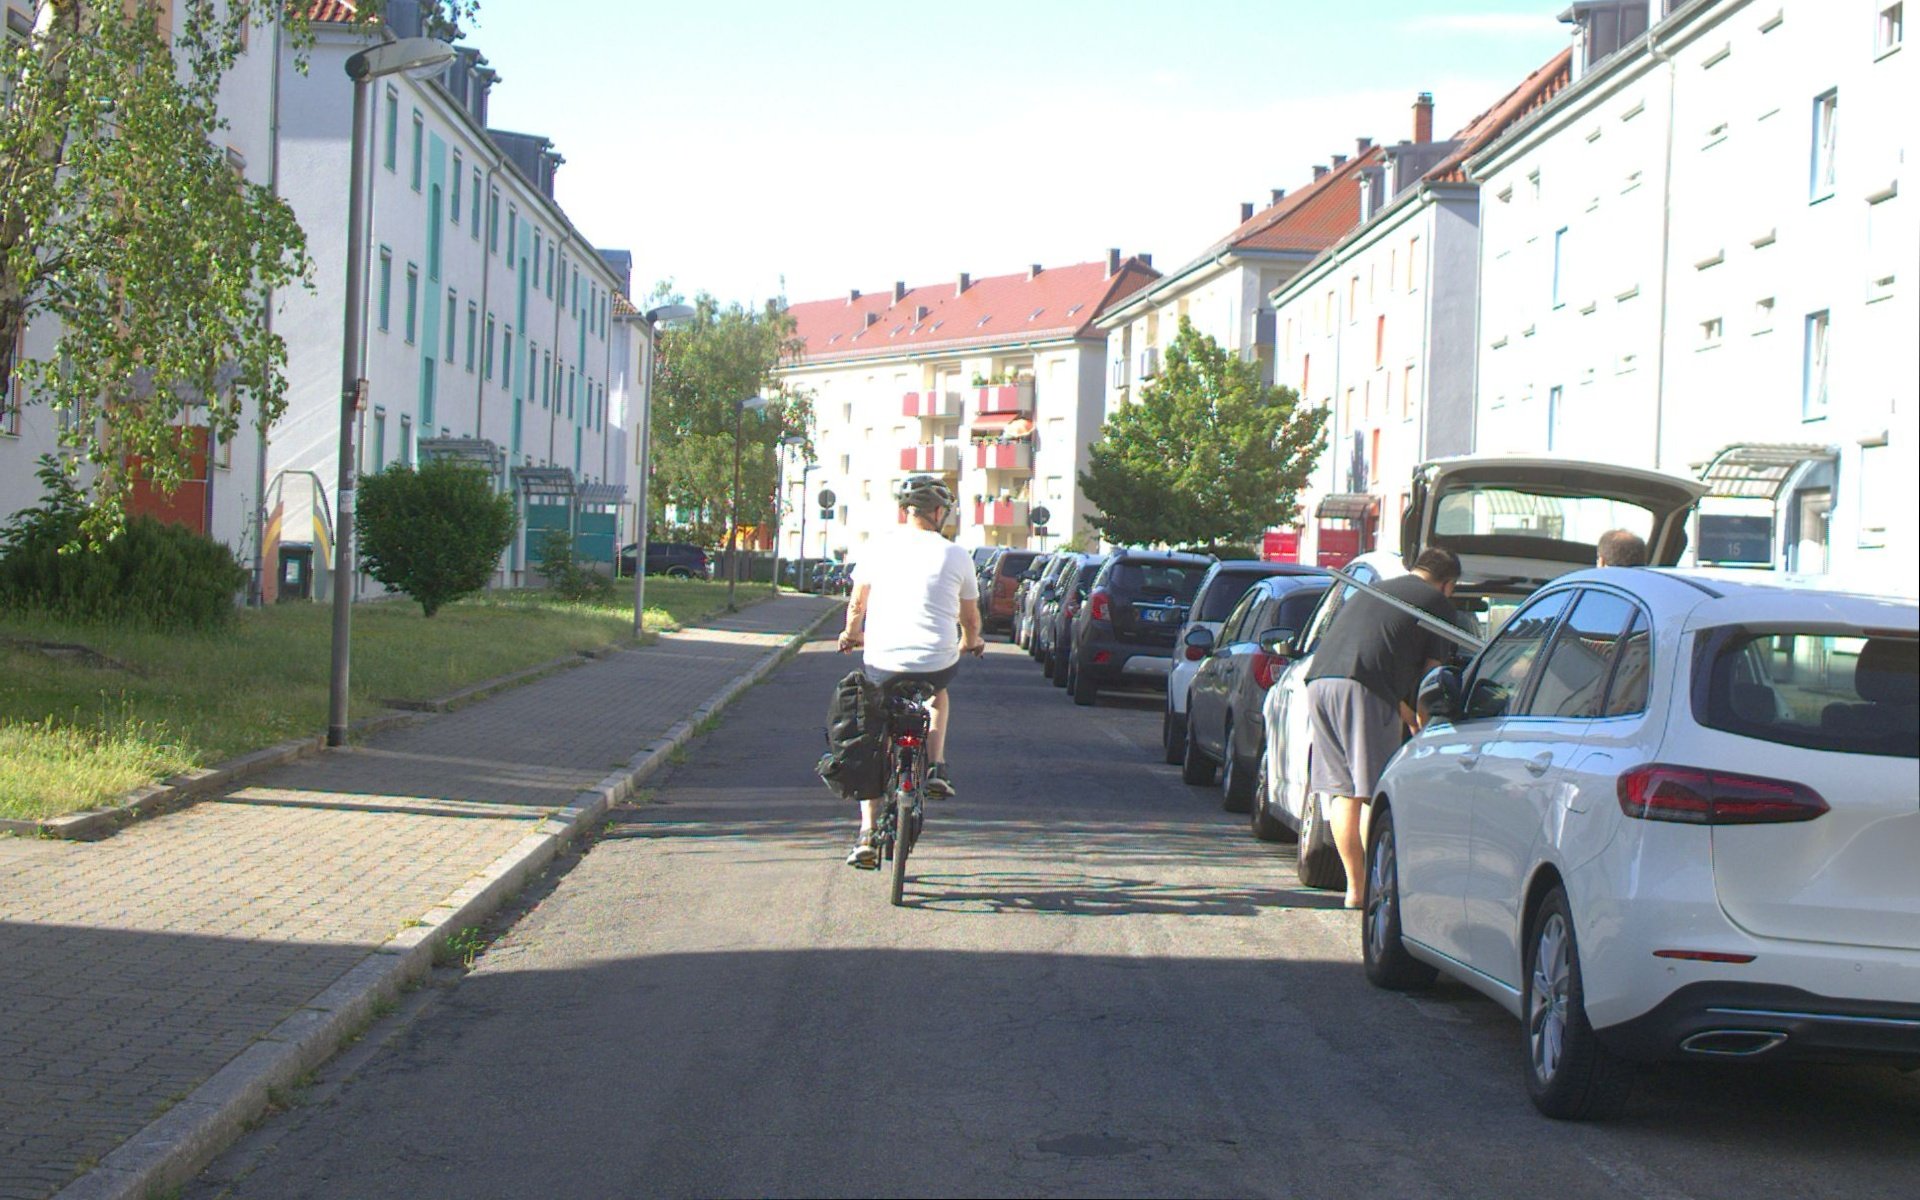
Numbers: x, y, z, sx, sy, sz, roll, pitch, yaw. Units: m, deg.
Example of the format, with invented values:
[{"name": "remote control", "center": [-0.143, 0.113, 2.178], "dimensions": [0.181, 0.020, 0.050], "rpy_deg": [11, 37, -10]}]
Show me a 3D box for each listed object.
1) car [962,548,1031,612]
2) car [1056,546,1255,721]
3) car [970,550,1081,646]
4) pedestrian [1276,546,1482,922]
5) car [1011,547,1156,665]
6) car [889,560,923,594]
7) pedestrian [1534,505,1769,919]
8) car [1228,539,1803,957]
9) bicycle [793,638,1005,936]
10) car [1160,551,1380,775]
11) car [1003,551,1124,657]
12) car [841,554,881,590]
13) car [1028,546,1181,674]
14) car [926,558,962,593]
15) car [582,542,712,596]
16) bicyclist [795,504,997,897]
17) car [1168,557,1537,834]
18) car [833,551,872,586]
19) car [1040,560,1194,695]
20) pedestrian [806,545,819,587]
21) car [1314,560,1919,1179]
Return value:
[{"name": "car", "center": [1.054, -0.615, 100.843], "dimensions": [1.674, 1.733, 3.943], "rpy_deg": [3, 1, -3]}, {"name": "car", "center": [2.026, 0.307, 36.769], "dimensions": [1.783, 1.642, 4.469], "rpy_deg": [4, 1, 0]}, {"name": "car", "center": [1.230, -0.058, 66.051], "dimensions": [1.862, 1.662, 4.127], "rpy_deg": [4, 1, -1]}, {"name": "pedestrian", "center": [1.802, 0.558, 14.912], "dimensions": [0.739, 1.569, 0.880], "rpy_deg": [1, 1, -1]}, {"name": "car", "center": [1.879, 0.058, 53.524], "dimensions": [1.750, 1.612, 4.453], "rpy_deg": [5, 1, -3]}, {"name": "car", "center": [-2.541, -1.096, 162.642], "dimensions": [1.469, 1.511, 3.077], "rpy_deg": [1, 1, -3]}, {"name": "pedestrian", "center": [2.883, 0.453, 14.381], "dimensions": [0.819, 1.681, 0.604], "rpy_deg": [1, 1, -1]}, {"name": "car", "center": [2.514, 0.581, 16.865], "dimensions": [1.993, 1.607, 4.995], "rpy_deg": [4, 1, 1]}, {"name": "bicycle", "center": [-0.295, 0.761, 14.834], "dimensions": [0.808, 1.124, 2.102], "rpy_deg": [1, 1, -3]}, {"name": "car", "center": [2.351, 0.443, 26.594], "dimensions": [1.480, 1.524, 2.940], "rpy_deg": [4, 1, 3]}, {"name": "car", "center": [1.733, 0.031, 58.731], "dimensions": [1.712, 1.590, 4.398], "rpy_deg": [5, 1, -1]}, {"name": "car", "center": [-3.855, -1.085, 133.546], "dimensions": [1.469, 1.331, 3.141], "rpy_deg": [1, 1, -3]}, {"name": "car", "center": [1.948, 0.092, 47.472], "dimensions": [1.690, 1.569, 4.435], "rpy_deg": [4, 1, -2]}, {"name": "car", "center": [-0.701, -1.070, 149.926], "dimensions": [1.381, 1.492, 3.077], "rpy_deg": [1, 1, -3]}, {"name": "car", "center": [-10.434, -1.032, 114.686], "dimensions": [4.230, 1.633, 1.583], "rpy_deg": [2, 1, -5]}, {"name": "bicyclist", "center": [-0.292, 0.419, 14.949], "dimensions": [0.808, 1.638, 0.899], "rpy_deg": [1, 1, -3]}, {"name": "car", "center": [2.419, 0.534, 22.120], "dimensions": [1.693, 1.486, 3.985], "rpy_deg": [4, 1, -2]}, {"name": "car", "center": [-4.314, -1.261, 137.856], "dimensions": [1.469, 1.331, 3.141], "rpy_deg": [1, 1, -3]}, {"name": "car", "center": [1.868, 0.294, 41.866], "dimensions": [1.641, 1.493, 4.156], "rpy_deg": [2, 1, 0]}, {"name": "pedestrian", "center": [-5.560, -1.281, 129.538], "dimensions": [0.434, 1.569, 0.543], "rpy_deg": [1, 1, -1]}, {"name": "car", "center": [2.379, 0.677, 10.875], "dimensions": [1.772, 1.499, 4.481], "rpy_deg": [3, 1, -3]}]
